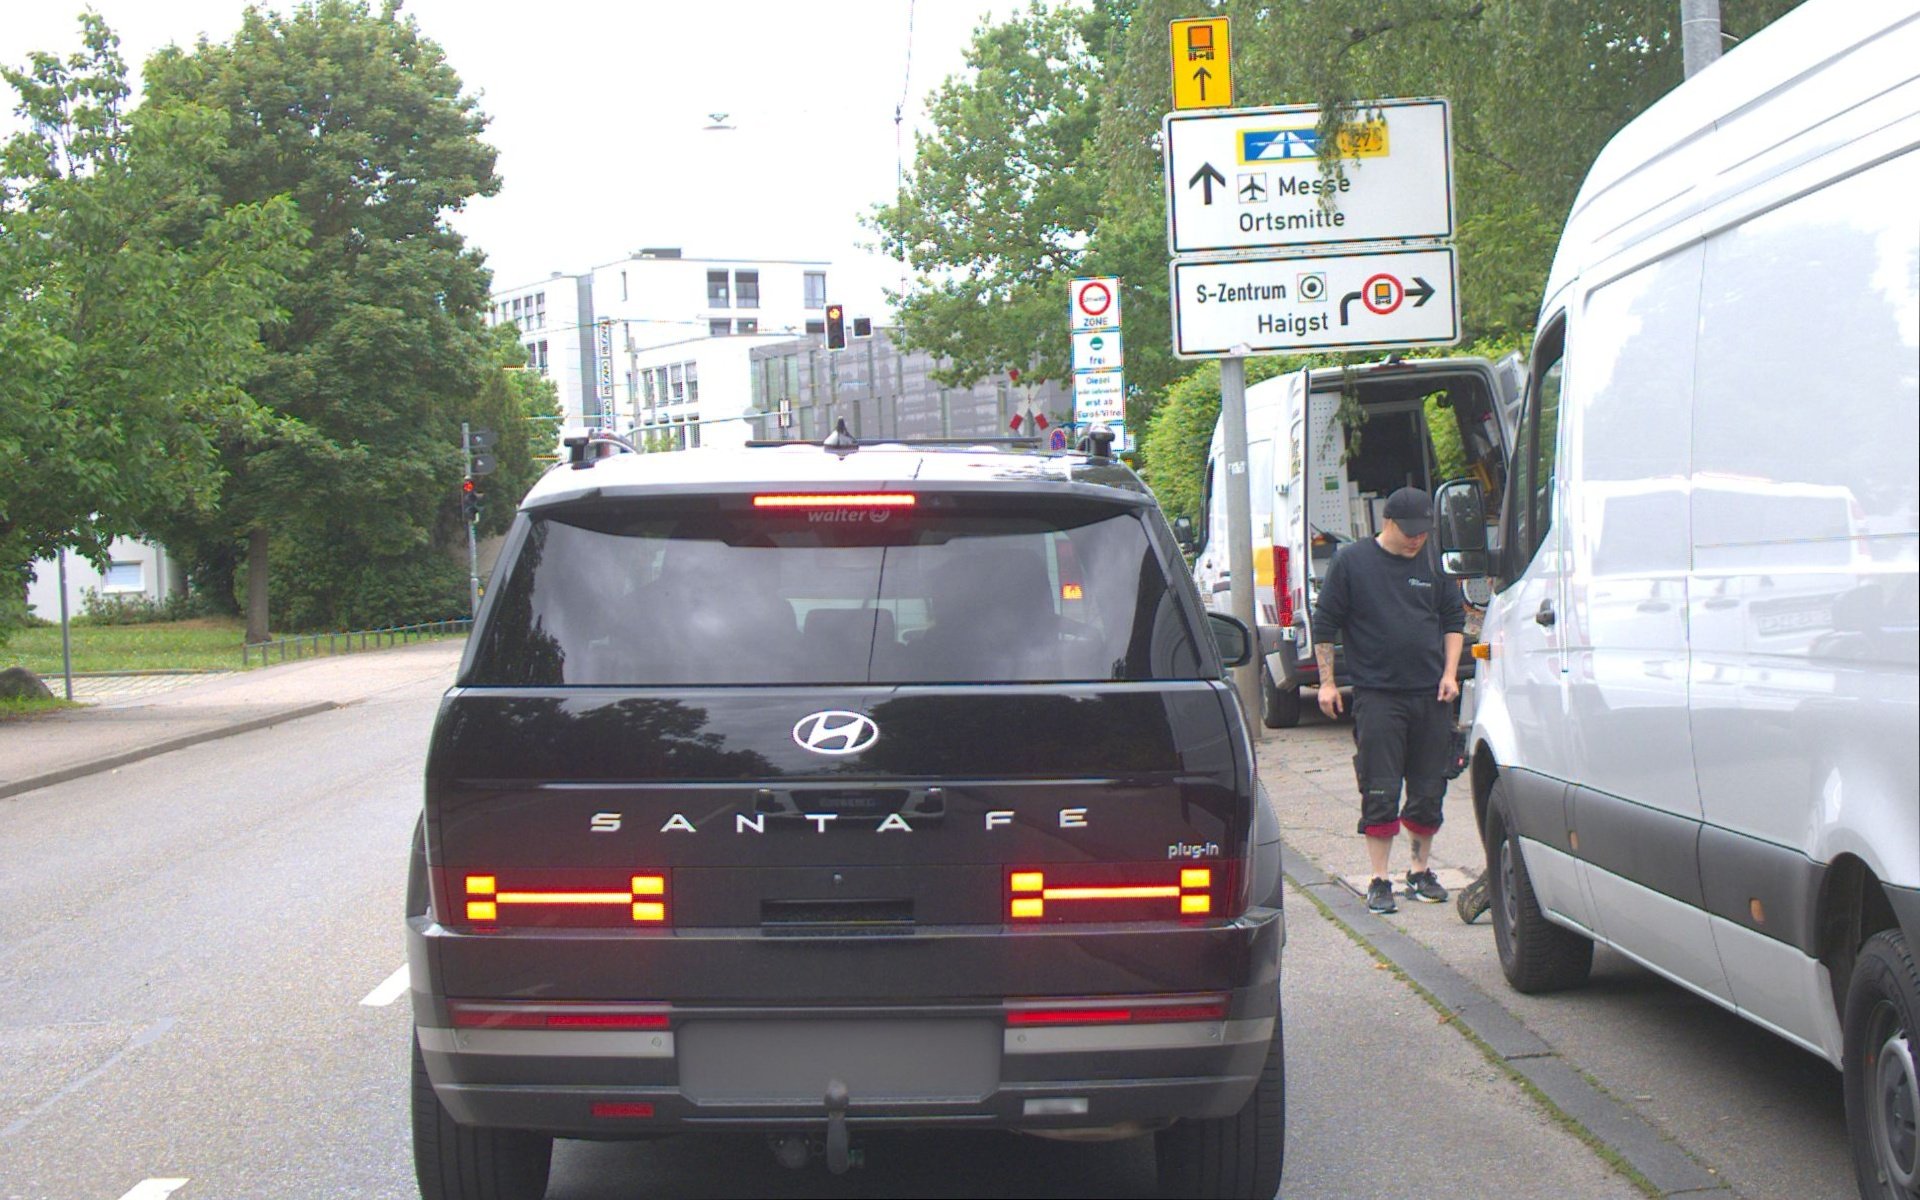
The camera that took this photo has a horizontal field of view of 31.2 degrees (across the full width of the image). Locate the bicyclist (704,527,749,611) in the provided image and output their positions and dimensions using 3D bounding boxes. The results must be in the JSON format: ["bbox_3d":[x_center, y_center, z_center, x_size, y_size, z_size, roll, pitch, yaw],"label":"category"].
[{"bbox_3d":[-4.650,-0.613,68.409,0.855,1.653,0.677,-1,-1,-5],"label":"bicyclist"}]

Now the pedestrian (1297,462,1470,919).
[{"bbox_3d":[1.661,0.352,13.441,0.604,1.737,0.619,-1,-1,11],"label":"pedestrian"}]

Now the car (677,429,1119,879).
[{"bbox_3d":[-0.326,0.209,17.512,1.963,1.994,4.000,-1,1,-1],"label":"car"}]

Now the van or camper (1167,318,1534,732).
[{"bbox_3d":[2.918,-0.574,26.890,1.963,2.787,5.287,-4,1,-1],"label":"van or camper"}]

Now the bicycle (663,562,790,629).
[{"bbox_3d":[-4.657,-0.087,68.394,2.492,1.275,0.677,-1,-1,-5],"label":"bicycle"}]

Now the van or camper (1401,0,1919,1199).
[{"bbox_3d":[2.590,-0.071,8.065,1.963,2.619,6.359,-4,1,-1],"label":"van or camper"}]

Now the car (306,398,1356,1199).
[{"bbox_3d":[-0.288,0.451,8.517,1.963,1.705,4.000,-1,1,-1],"label":"car"}]
